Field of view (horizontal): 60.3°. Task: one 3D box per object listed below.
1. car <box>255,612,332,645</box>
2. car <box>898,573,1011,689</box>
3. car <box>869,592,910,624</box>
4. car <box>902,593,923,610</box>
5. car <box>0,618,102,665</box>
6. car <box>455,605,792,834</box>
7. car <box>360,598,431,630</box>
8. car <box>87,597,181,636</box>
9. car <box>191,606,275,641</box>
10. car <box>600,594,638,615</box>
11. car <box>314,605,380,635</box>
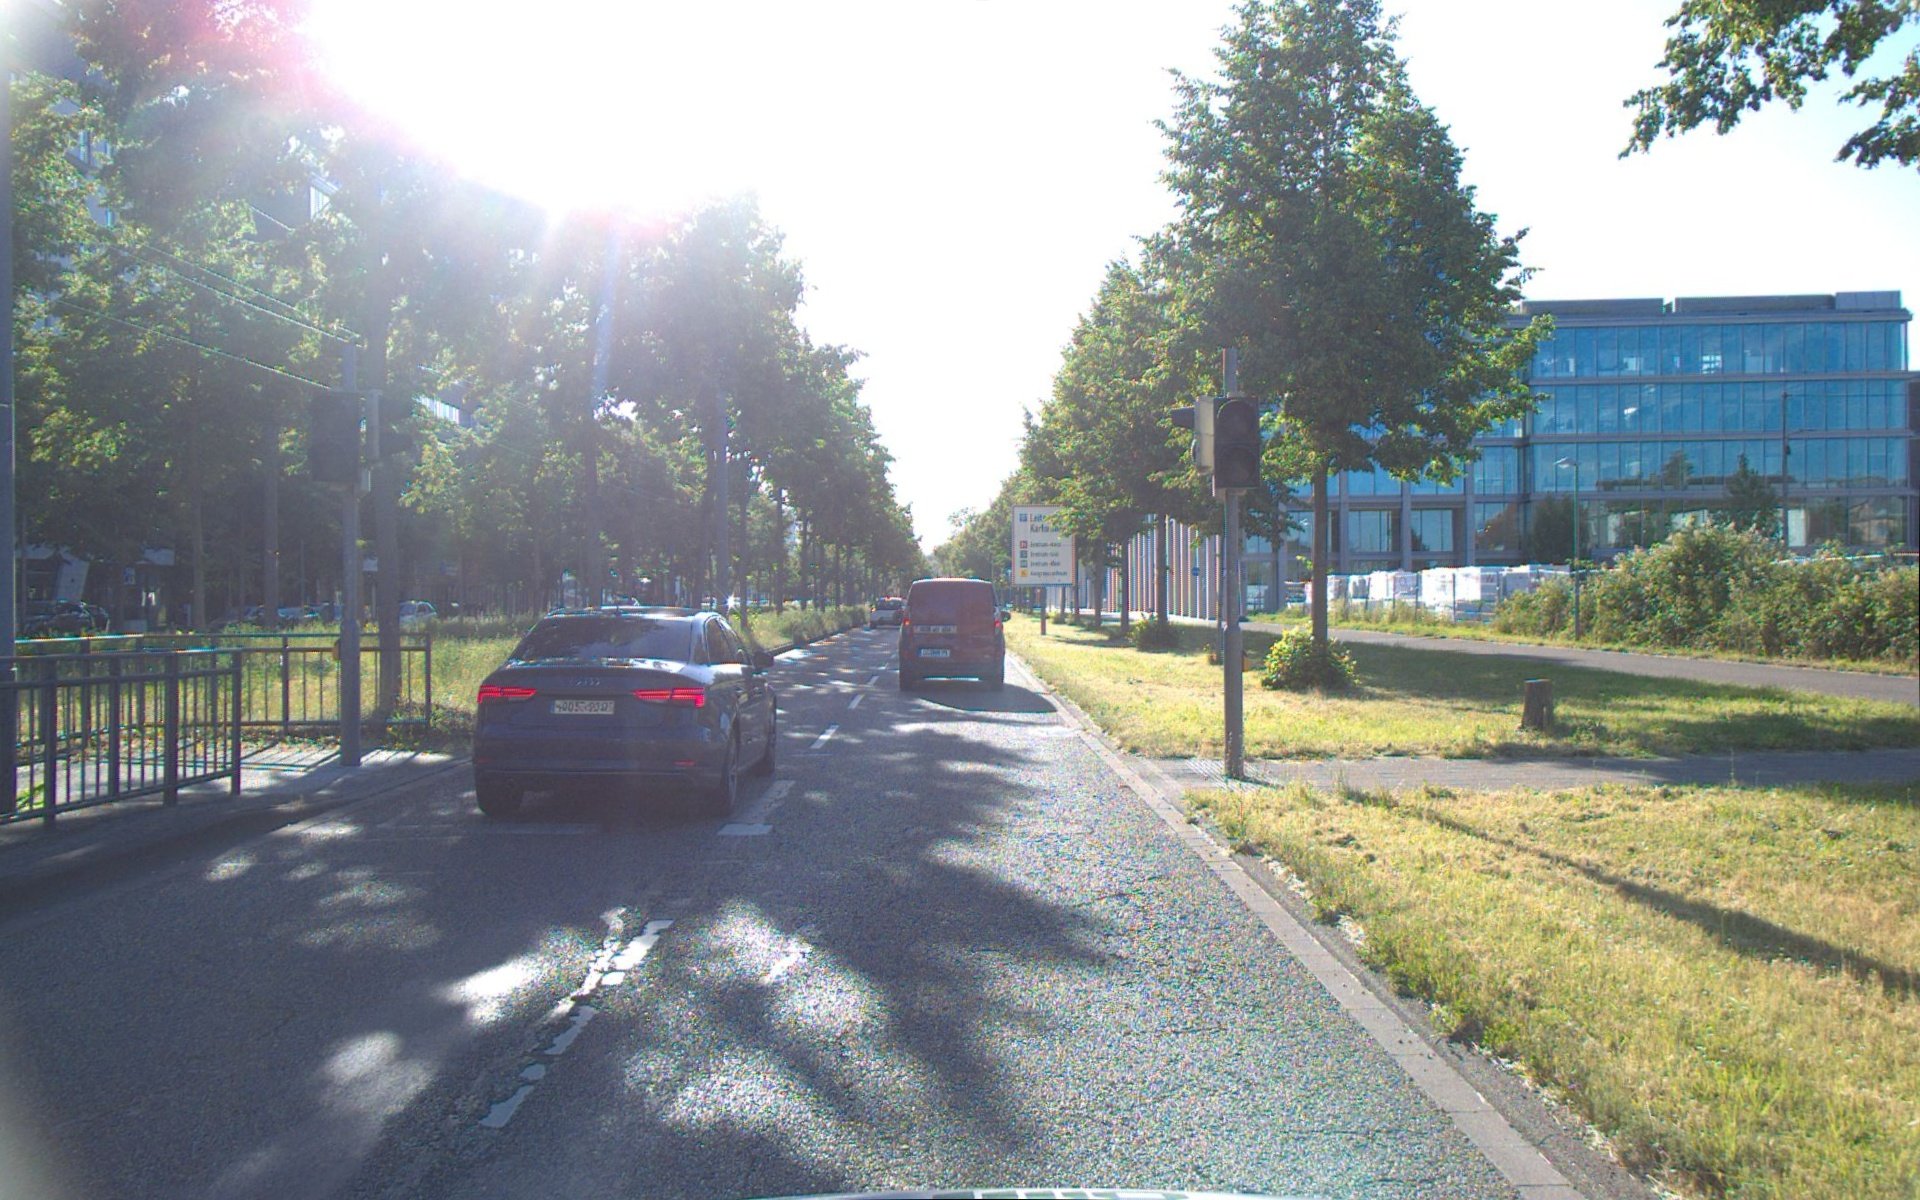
[{"bbox_3d":[-31.354,1.327,77.884,1.680,1.445,4.545,-1,0,1],"label":"car"},{"bbox_3d":[-0.148,0.481,28.317,1.761,1.808,3.999,1,0,-2],"label":"car"},{"bbox_3d":[-3.333,0.373,78.449,1.903,1.466,3.998,-1,0,-3],"label":"car"},{"bbox_3d":[-4.378,0.104,153.222,1.805,1.561,3.940,-1,0,0],"label":"car"},{"bbox_3d":[-31.132,1.372,56.074,1.634,1.444,4.804,-1,0,-1],"label":"car"},{"bbox_3d":[-2.302,0.750,12.370,1.686,1.390,4.145,1,0,0],"label":"car"},{"bbox_3d":[-23.664,0.577,69.497,1.732,1.260,3.485,-1,0,1],"label":"car"},{"bbox_3d":[-30.990,0.591,62.175,1.698,1.378,3.753,-1,0,-1],"label":"car"},{"bbox_3d":[-31.752,1.015,72.338,1.680,1.445,4.544,-1,0,0],"label":"car"},{"bbox_3d":[-23.584,0.300,114.596,1.761,1.314,4.310,-1,1,-1],"label":"car"},{"bbox_3d":[-31.239,0.991,84.421,1.680,1.445,4.544,-1,0,0],"label":"car"}]
